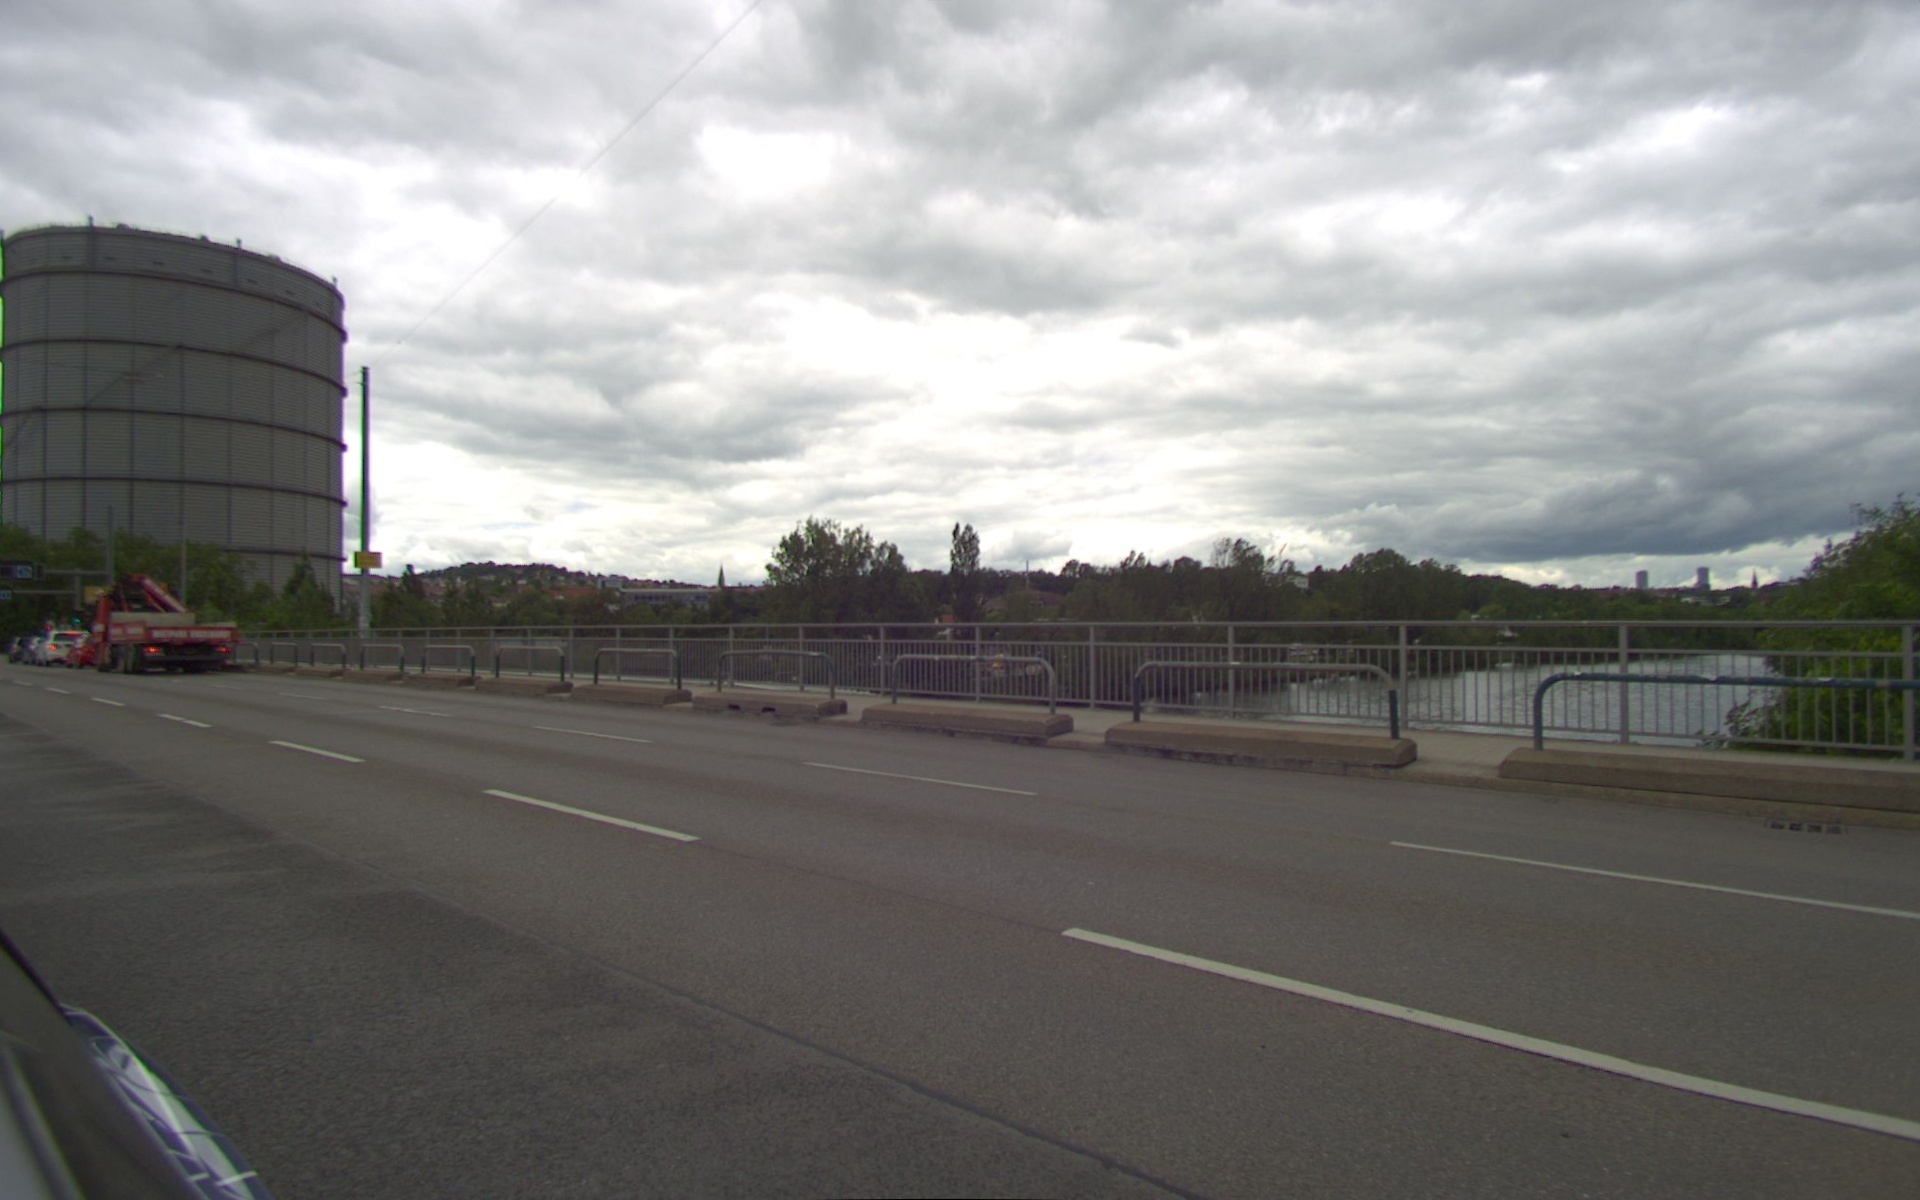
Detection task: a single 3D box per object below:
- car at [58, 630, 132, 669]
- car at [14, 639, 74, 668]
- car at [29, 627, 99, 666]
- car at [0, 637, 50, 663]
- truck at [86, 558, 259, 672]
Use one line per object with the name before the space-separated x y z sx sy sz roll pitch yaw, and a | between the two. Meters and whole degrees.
car | -37.791 2.177 44.200 4.013 1.615 1.860 -3 -4 41
car | -49.158 2.863 54.299 4.514 1.516 1.816 -3 -4 41
car | -43.227 2.237 48.780 4.800 1.775 1.860 -3 -4 41
car | -55.488 2.959 60.052 3.870 1.516 1.816 -3 -4 42
truck | -28.519 0.694 36.434 9.976 3.593 2.974 -3 -4 41
